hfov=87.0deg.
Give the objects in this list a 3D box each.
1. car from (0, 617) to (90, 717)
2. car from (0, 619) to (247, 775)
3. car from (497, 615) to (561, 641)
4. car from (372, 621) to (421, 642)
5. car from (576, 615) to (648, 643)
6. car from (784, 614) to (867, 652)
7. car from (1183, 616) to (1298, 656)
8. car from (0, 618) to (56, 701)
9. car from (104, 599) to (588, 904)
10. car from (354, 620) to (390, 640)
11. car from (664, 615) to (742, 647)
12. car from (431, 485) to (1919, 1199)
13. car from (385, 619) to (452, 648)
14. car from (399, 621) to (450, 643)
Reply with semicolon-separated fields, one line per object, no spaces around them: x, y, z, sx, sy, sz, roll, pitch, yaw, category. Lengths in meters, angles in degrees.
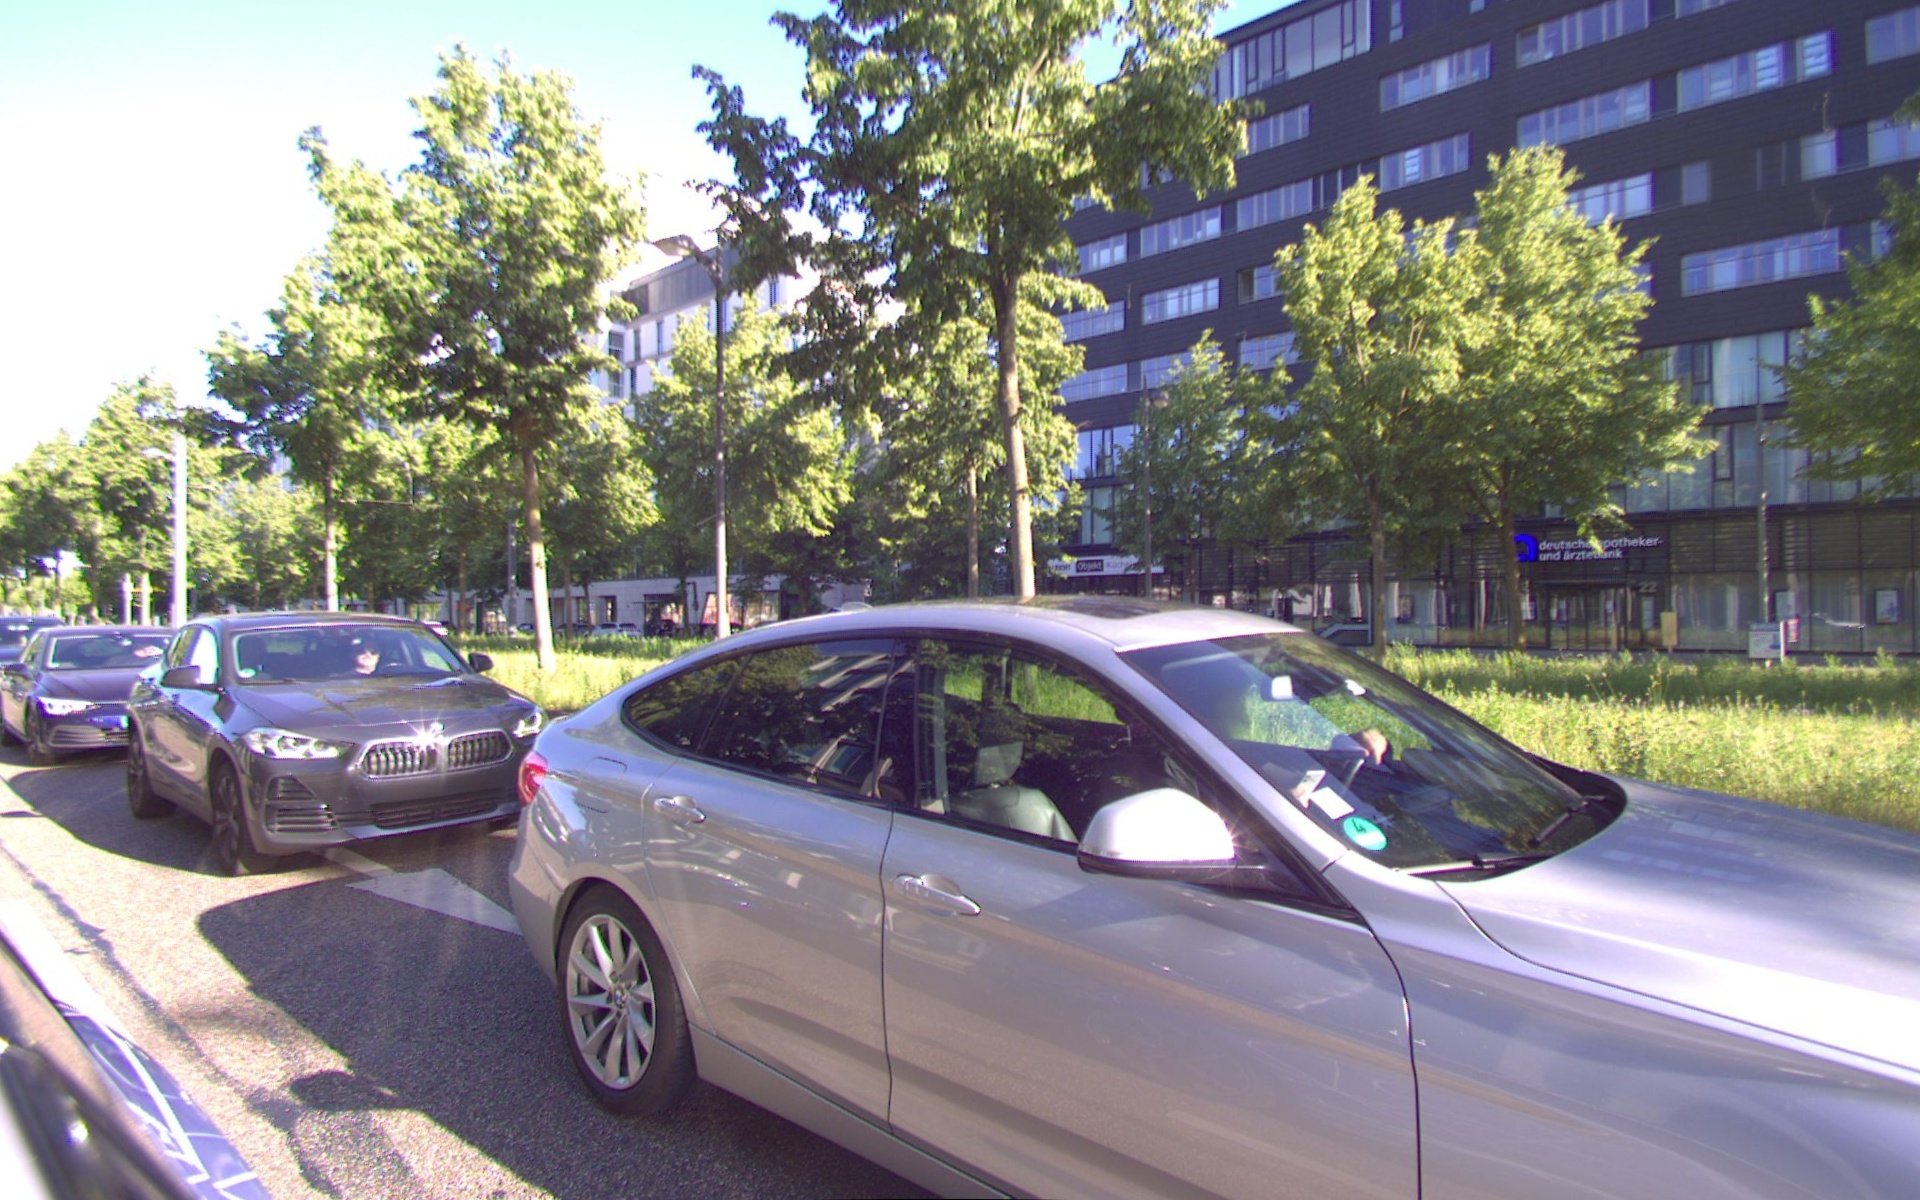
-16.807;1.117;17.818;4.164;1.602;1.788;-1;-1;42;car
-9.900;0.974;11.729;4.253;1.465;1.789;-1;-1;42;car
-29.747;1.908;69.843;4.785;1.711;1.988;-1;-1;38;car
-47.381;2.624;85.041;4.788;1.711;1.986;-1;-1;40;car
-21.776;1.798;63.267;4.785;1.711;1.988;-1;-1;38;car
-6.571;1.593;49.345;3.998;1.762;1.834;-1;-1;41;car
10.980;1.390;39.766;3.998;1.516;1.734;-1;-1;41;car
-21.622;1.268;22.208;4.788;1.711;1.986;-1;-1;40;car
-4.471;0.804;7.115;4.027;1.534;1.789;-1;-1;41;car
-51.228;2.615;88.170;3.741;1.682;1.581;-1;-1;41;car
-14.358;1.707;56.365;4.790;1.697;1.834;-1;-1;41;car
0.518;0.657;2.702;4.739;1.500;1.790;-1;-1;40;car
-30.794;1.887;57.469;4.733;1.549;1.834;-1;-1;41;car
-42.997;2.552;81.238;4.788;1.711;1.986;-1;-1;40;car
